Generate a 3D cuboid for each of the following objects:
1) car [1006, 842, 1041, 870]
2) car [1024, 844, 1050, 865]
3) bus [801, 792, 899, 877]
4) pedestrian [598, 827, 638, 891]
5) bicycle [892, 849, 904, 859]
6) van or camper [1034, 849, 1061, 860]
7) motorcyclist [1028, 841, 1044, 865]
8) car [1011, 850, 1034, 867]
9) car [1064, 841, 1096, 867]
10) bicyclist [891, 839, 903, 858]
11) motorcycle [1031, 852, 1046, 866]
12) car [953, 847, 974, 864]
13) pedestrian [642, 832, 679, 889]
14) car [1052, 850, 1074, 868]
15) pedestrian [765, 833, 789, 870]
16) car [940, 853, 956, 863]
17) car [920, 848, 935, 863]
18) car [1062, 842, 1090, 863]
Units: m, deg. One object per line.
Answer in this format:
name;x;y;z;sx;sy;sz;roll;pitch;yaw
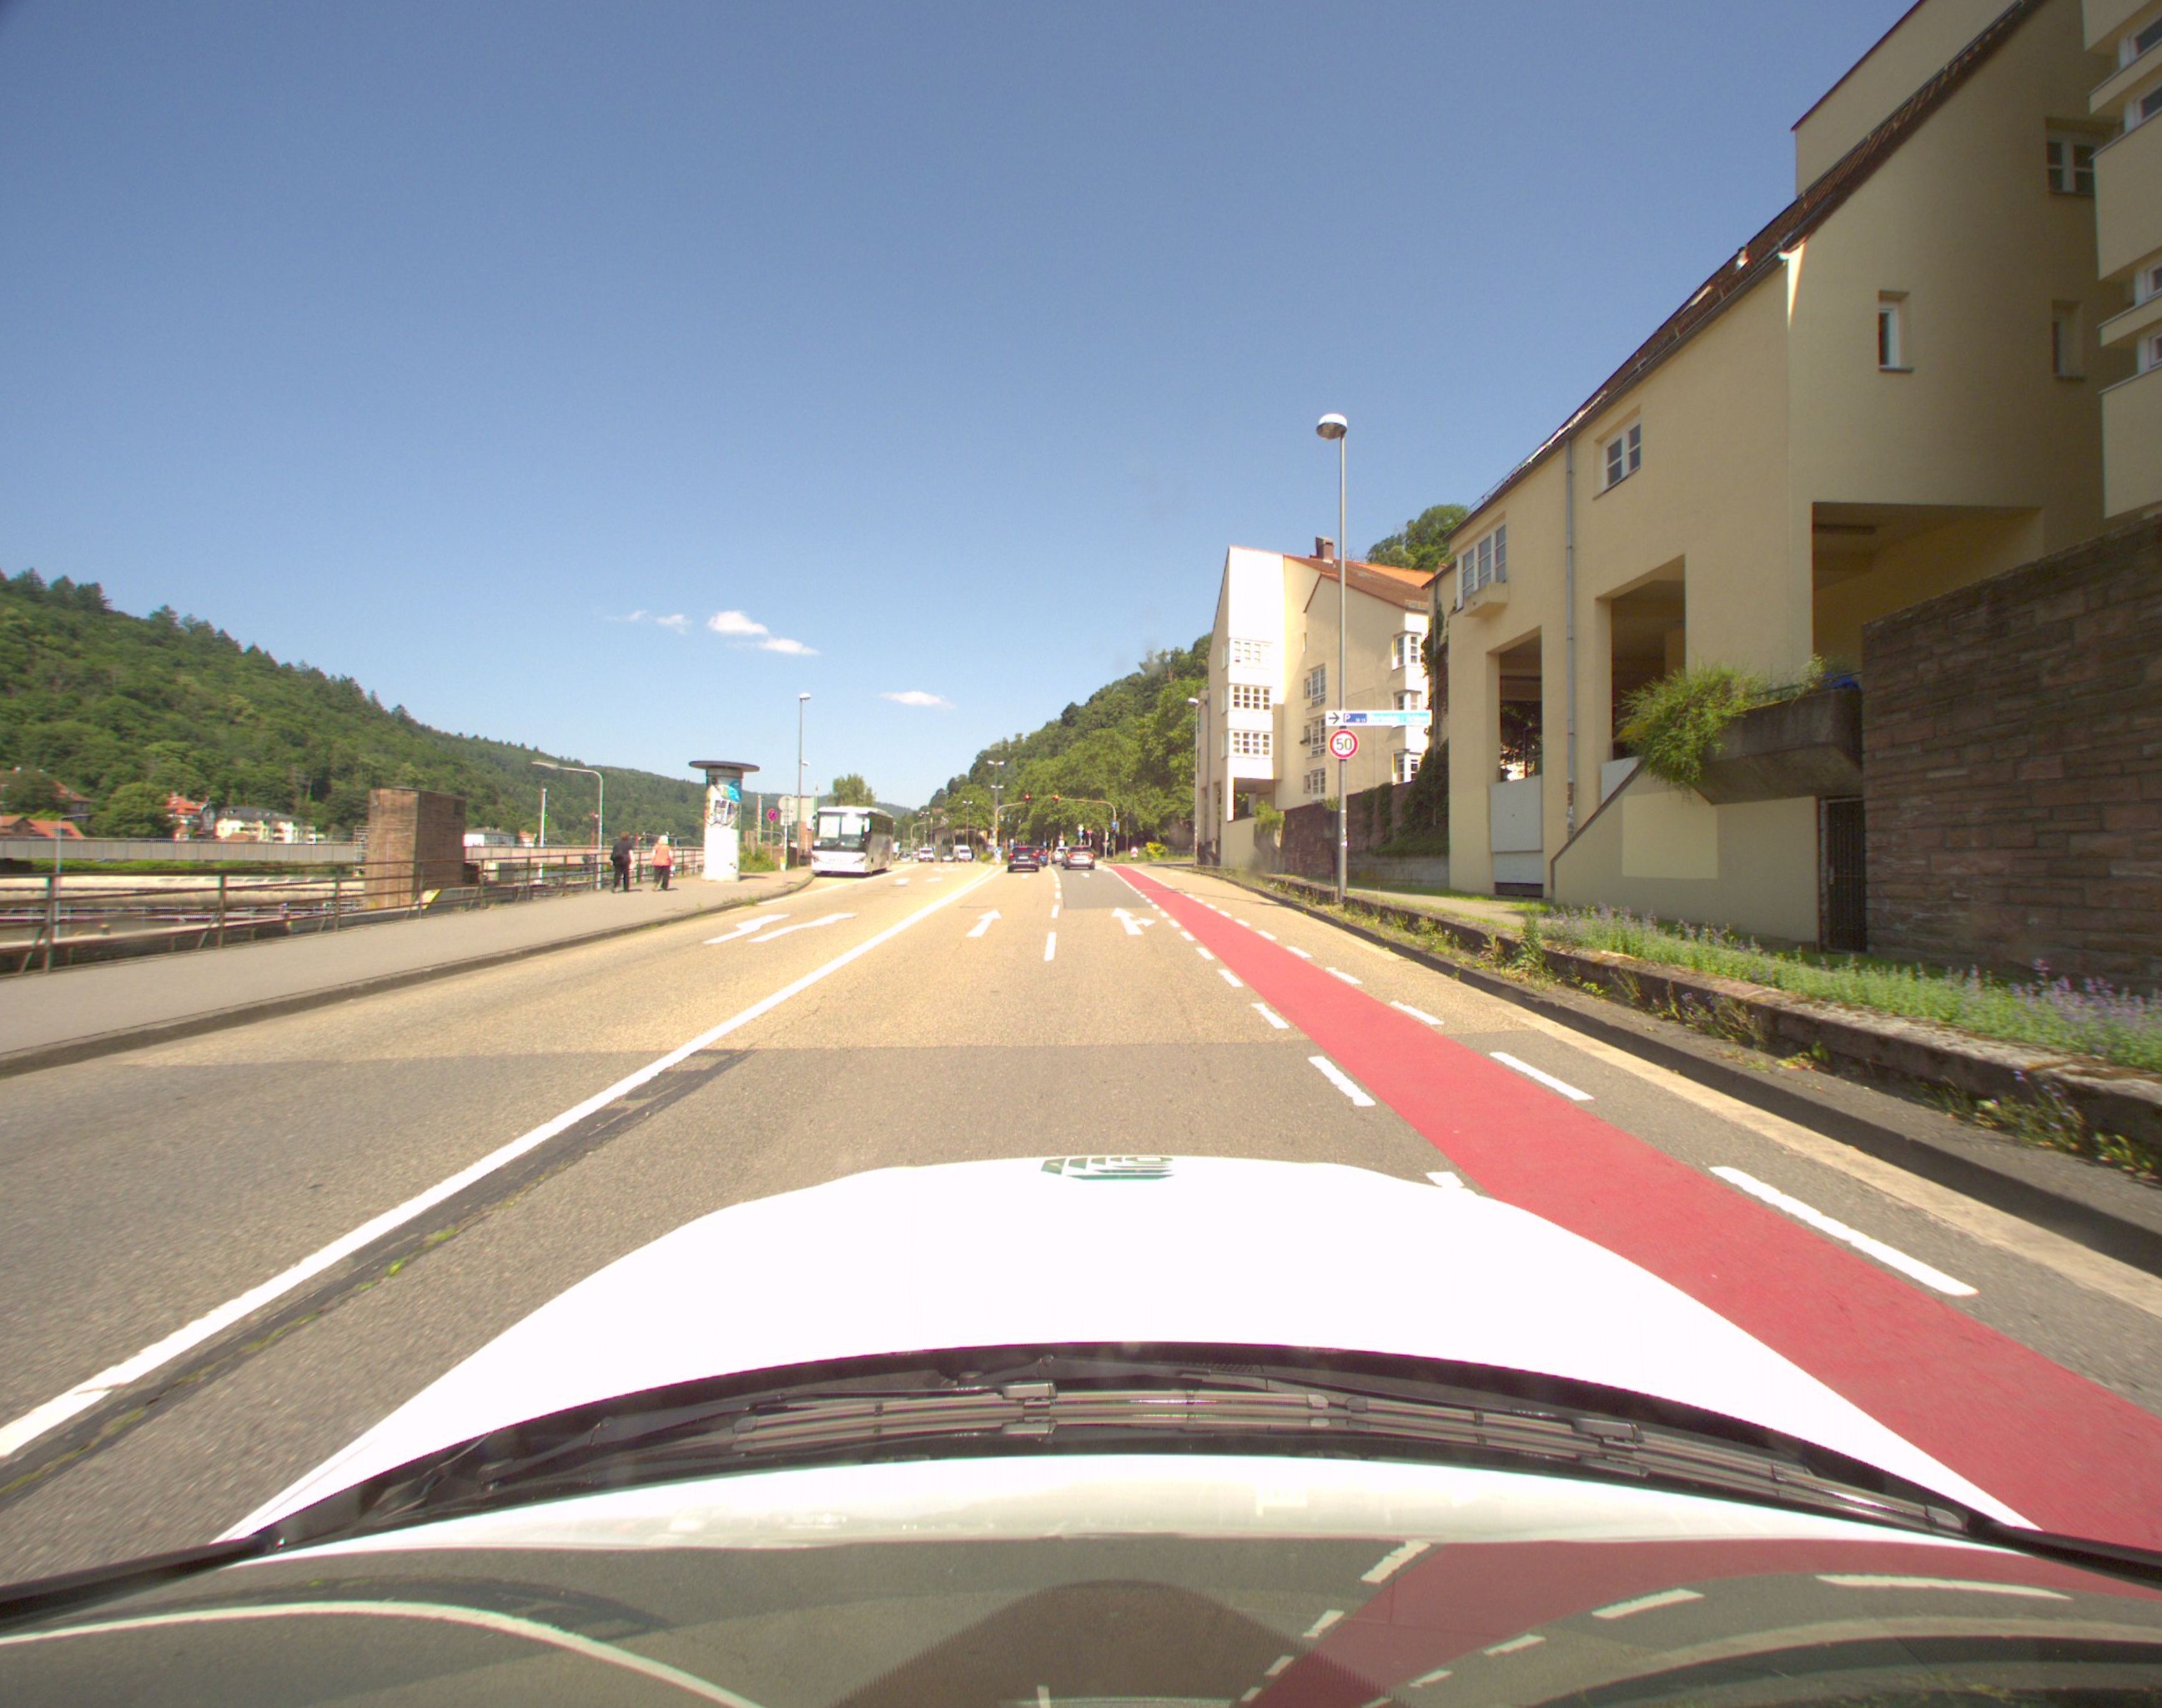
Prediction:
car;-3.313;0.136;47.174;1.865;1.514;4.145;1;0;-4
car;-3.448;0.040;63.218;1.863;1.562;3.994;0;0;-4
bus;-12.428;-0.980;45.195;2.954;3.800;13.212;4;0;-7
pedestrian;-12.597;0.138;22.169;0.682;1.709;0.771;0;0;-8
bicycle;-19.600;0.006;87.331;1.214;1.090;2.586;-1;1;-13
van or camper;-6.093;0.139;147.357;4.510;1.902;2.007;-1;0;13
motorcyclist;-3.127;-0.082;56.777;1.073;1.684;1.155;0;0;-3
car;-5.083;0.383;70.792;1.863;1.359;3.994;0;0;-4
car;-0.096;0.006;51.891;1.883;1.521;4.302;1;0;-2
bicyclist;-19.758;-0.599;87.364;1.213;2.013;1.114;-1;1;-13
motorcycle;-2.950;0.367;56.950;1.035;0.919;2.603;-1;1;-3
car;-18.757;0.208;129.507;2.390;2.576;6.018;-1;0;-18
pedestrian;-12.008;0.184;23.265;0.702;1.621;0.814;0;0;-10
car;-1.612;0.421;71.031;1.781;1.532;4.731;-1;0;-3
pedestrian;-15.250;-0.120;40.884;0.892;1.796;1.038;0;0;-8
car;-20.350;0.601;124.605;1.997;1.432;4.147;-1;1;-15
car;-23.230;0.224;123.476;2.214;2.078;5.026;-1;1;-10
car;-0.428;-0.102;62.533;1.989;1.533;4.854;0;0;-3
